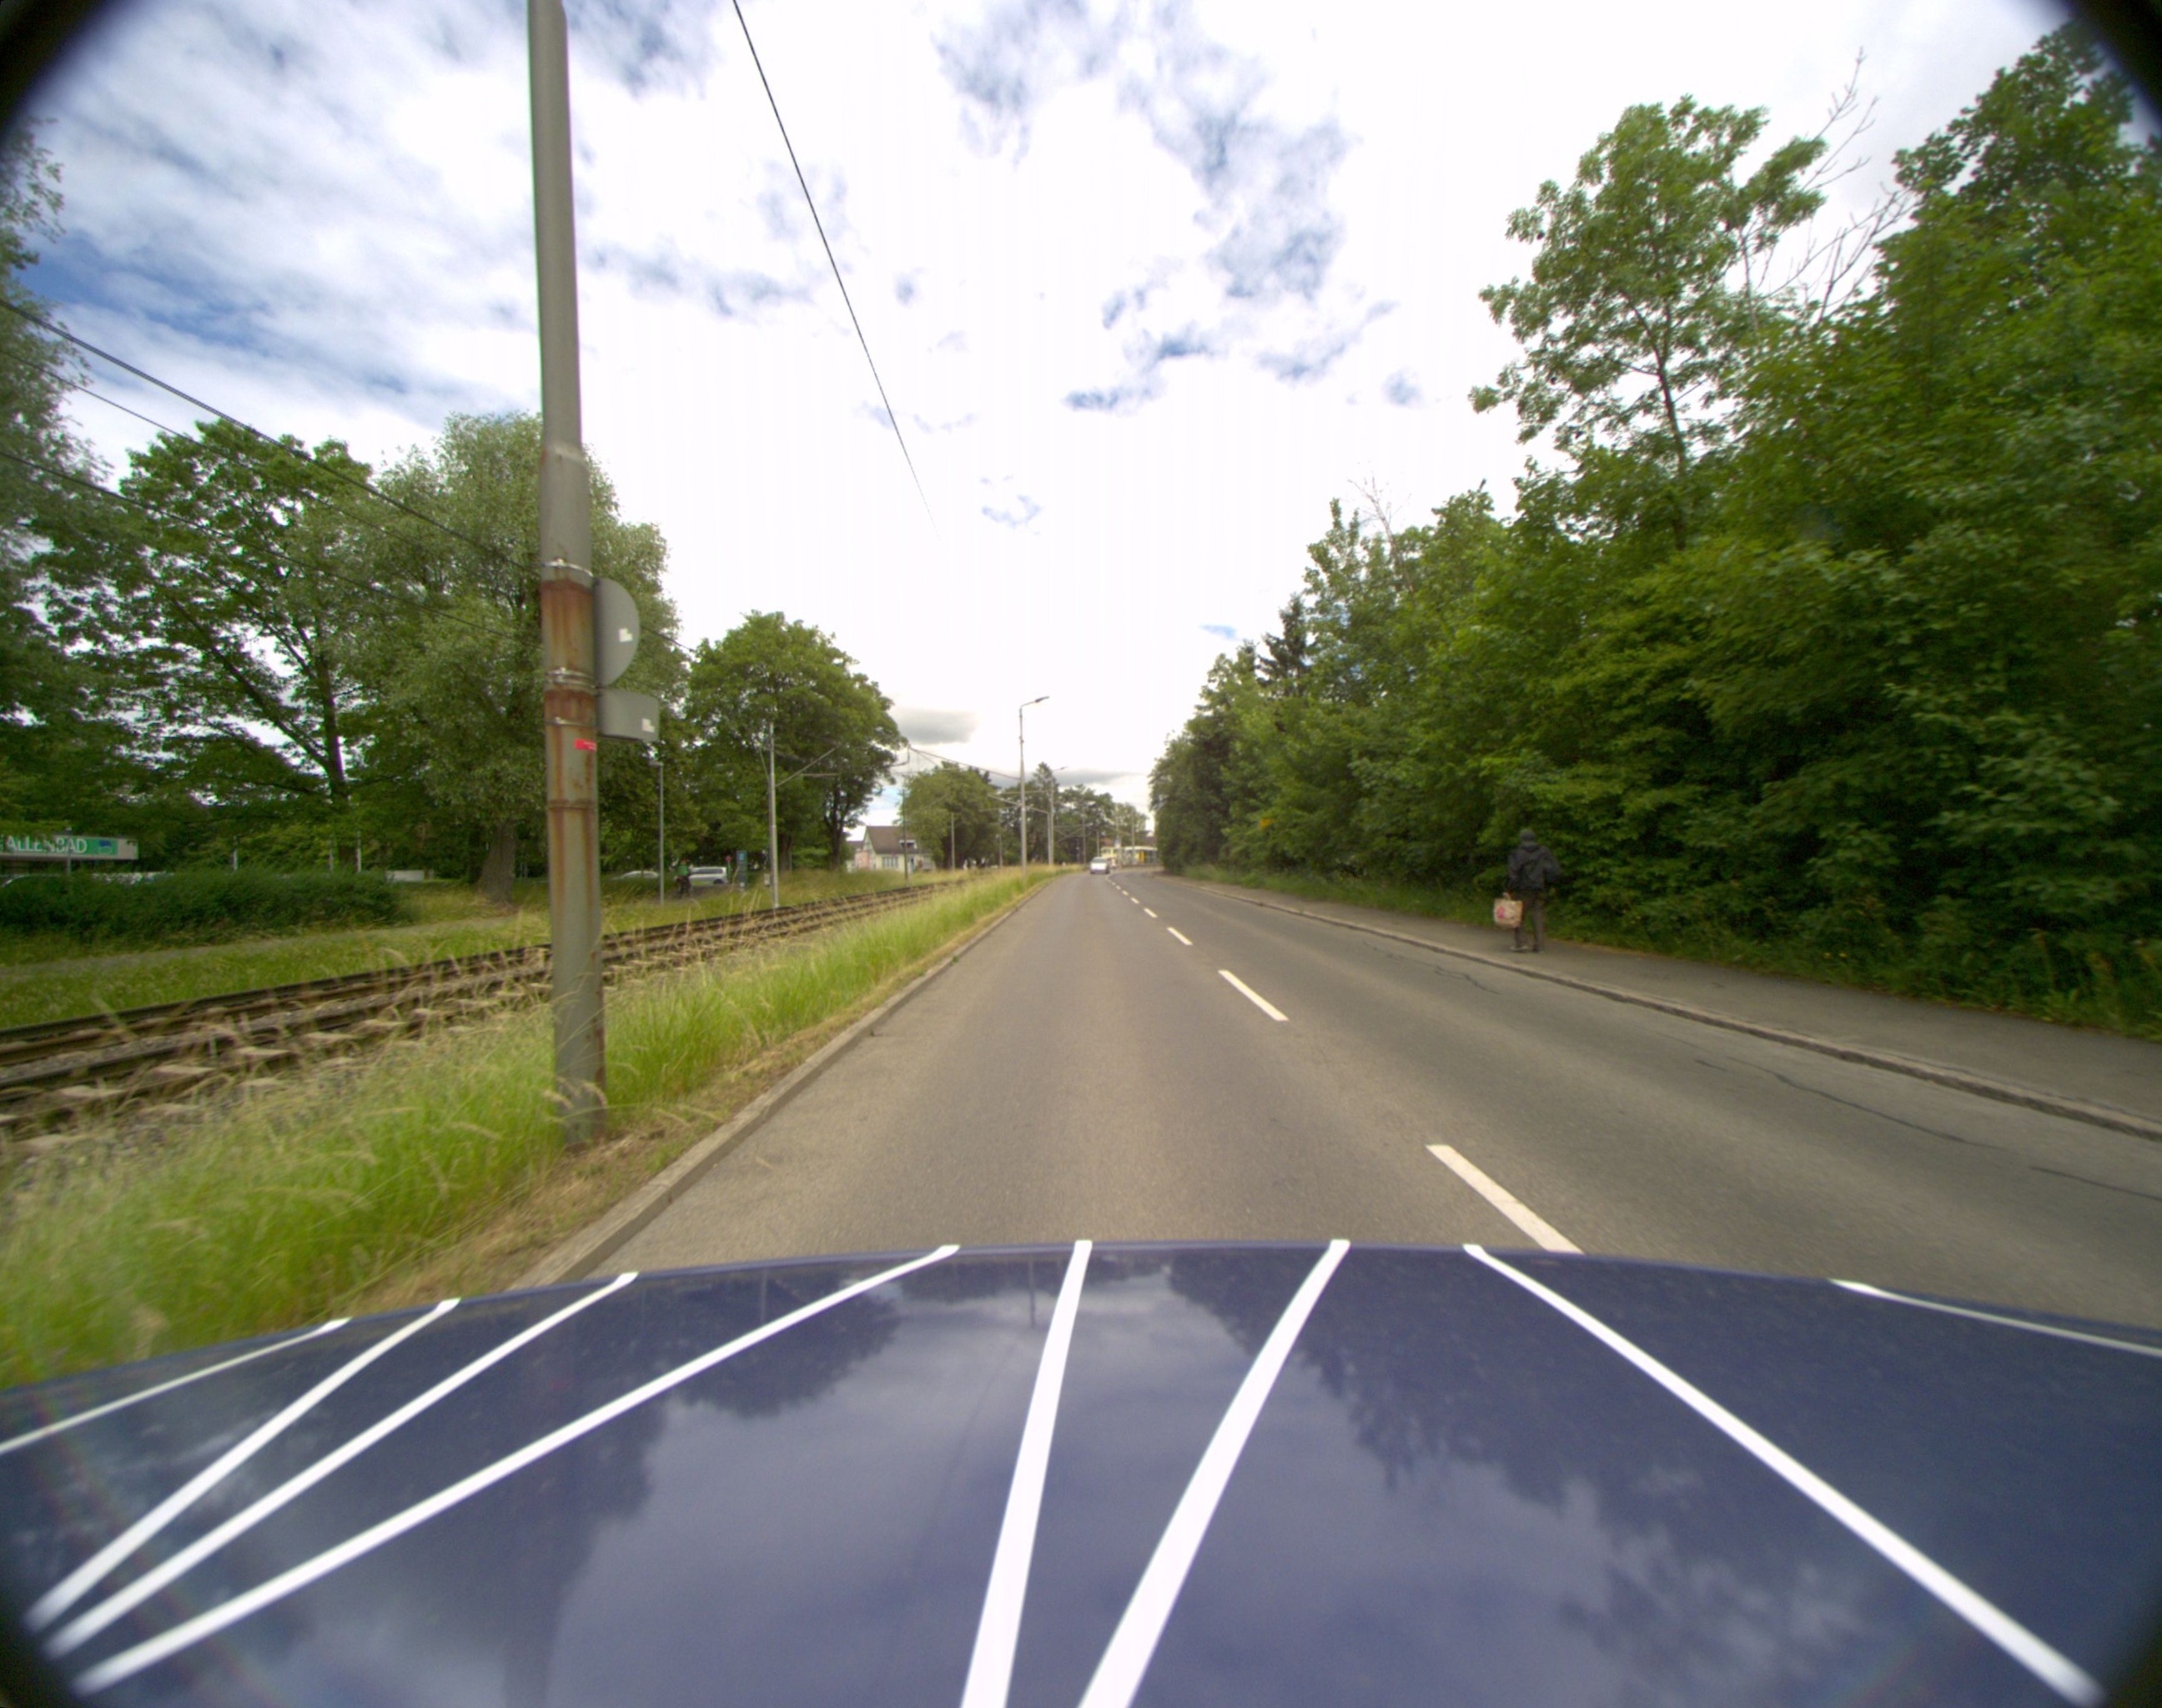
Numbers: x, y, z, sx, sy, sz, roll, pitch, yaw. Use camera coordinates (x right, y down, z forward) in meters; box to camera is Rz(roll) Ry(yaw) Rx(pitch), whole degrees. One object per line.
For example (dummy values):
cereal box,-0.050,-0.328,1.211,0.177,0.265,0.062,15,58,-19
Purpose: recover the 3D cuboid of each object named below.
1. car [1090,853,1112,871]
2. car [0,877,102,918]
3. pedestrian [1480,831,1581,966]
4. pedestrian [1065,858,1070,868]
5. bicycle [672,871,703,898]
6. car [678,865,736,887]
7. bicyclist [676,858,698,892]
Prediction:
car,1.965,0.813,74.021,1.733,1.638,4.229,-2,-1,5
car,-40.779,1.666,28.850,1.998,1.434,4.000,-2,0,1
pedestrian,6.183,0.593,10.489,0.870,1.759,0.789,-1,0,-4
pedestrian,-2.168,1.481,120.561,0.493,1.552,0.693,-3,0,16
bicycle,-19.759,1.516,38.185,0.582,1.239,1.929,-2,0,-3
car,-34.859,2.021,70.889,4.719,1.850,1.914,-1,0,-23
bicyclist,-19.770,1.056,38.124,0.582,1.686,0.935,-2,0,-3
